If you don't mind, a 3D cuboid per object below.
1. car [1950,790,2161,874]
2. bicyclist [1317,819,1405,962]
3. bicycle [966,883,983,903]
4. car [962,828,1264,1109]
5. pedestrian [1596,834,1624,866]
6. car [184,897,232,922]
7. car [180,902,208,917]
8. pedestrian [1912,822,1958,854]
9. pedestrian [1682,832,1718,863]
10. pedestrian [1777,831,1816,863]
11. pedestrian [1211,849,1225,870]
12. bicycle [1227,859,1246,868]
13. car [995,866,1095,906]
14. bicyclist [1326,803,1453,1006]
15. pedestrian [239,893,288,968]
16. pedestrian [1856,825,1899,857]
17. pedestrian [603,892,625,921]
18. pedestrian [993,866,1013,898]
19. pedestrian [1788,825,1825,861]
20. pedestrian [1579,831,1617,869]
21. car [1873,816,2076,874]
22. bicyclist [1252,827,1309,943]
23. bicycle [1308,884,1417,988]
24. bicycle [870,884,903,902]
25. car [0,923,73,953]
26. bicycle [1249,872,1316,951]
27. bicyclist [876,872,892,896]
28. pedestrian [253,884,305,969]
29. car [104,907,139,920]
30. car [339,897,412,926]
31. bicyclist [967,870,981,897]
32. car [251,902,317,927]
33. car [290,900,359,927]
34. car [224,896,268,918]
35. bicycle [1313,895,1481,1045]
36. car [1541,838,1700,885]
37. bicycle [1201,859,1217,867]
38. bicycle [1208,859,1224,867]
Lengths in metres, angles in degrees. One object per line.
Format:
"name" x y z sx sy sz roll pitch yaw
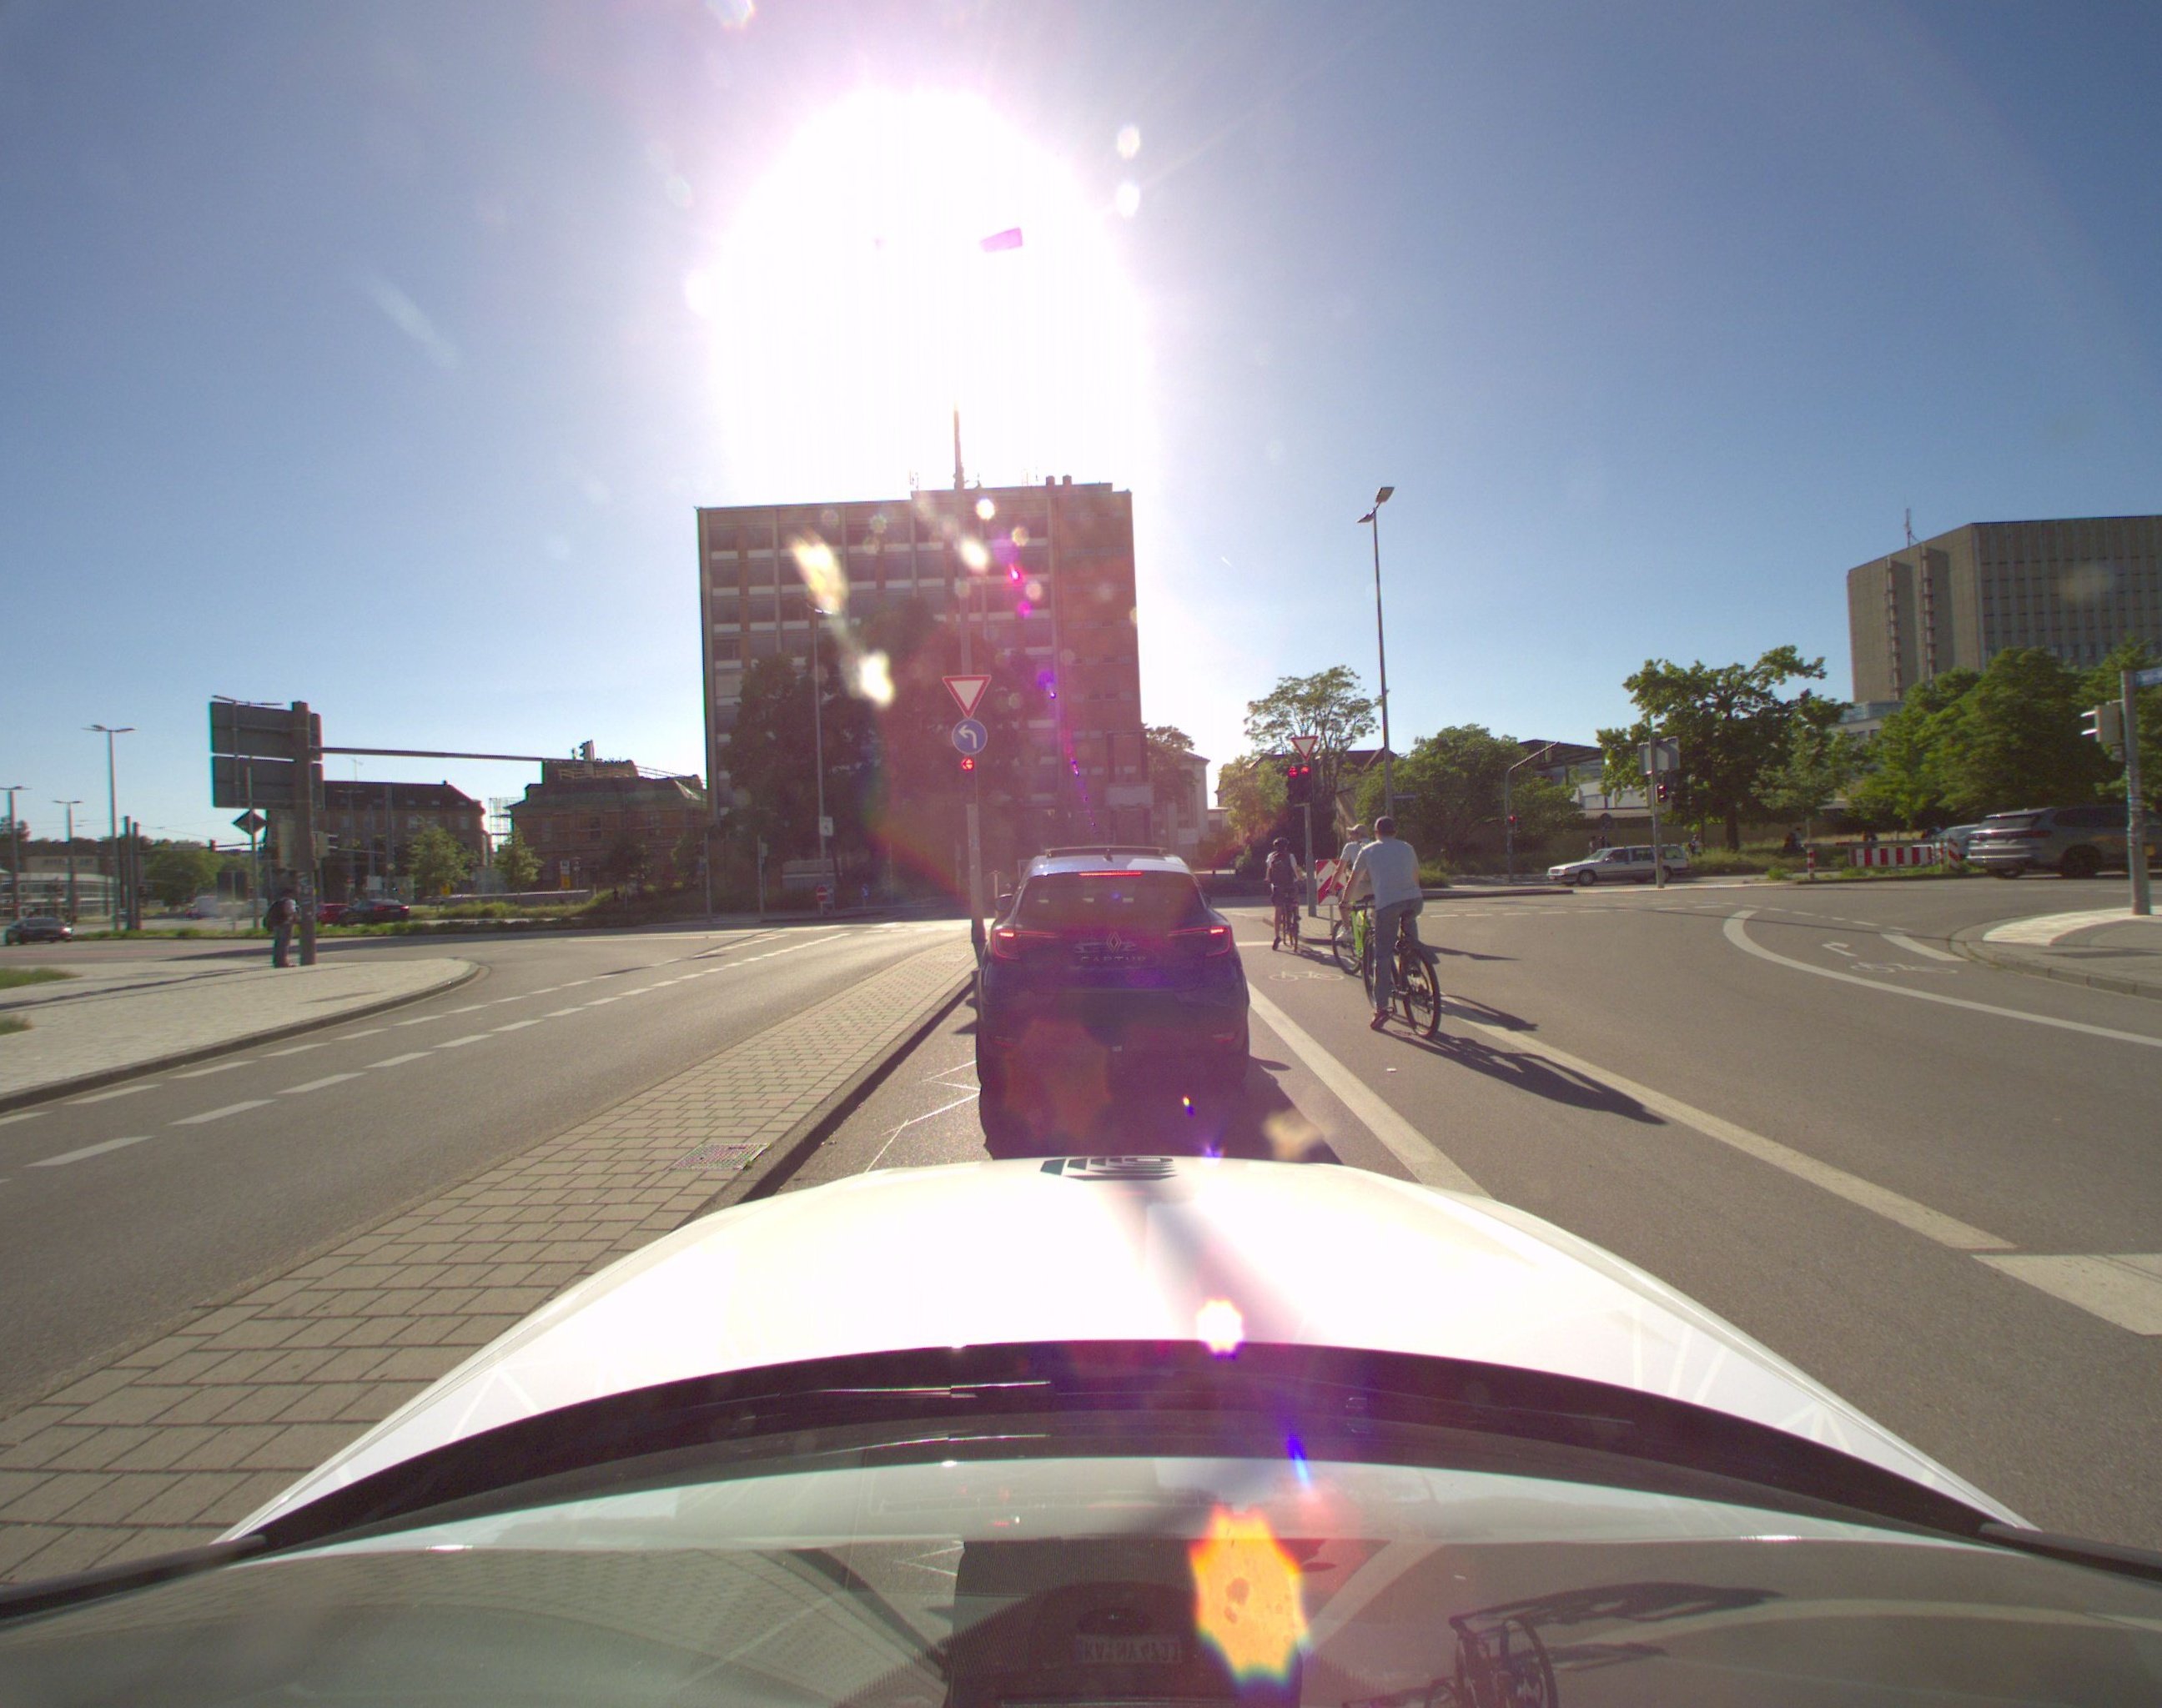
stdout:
"car" 25.163 -0.546 20.202 4.701 1.861 2.009 -2 -1 7
"bicyclist" 3.251 0.404 9.540 0.672 1.583 1.081 0 0 1
"bicycle" -5.799 2.145 44.154 0.699 1.007 1.859 -3 -3 -13
"car" 0.223 0.683 6.799 1.788 1.655 3.853 -1 0 1
"pedestrian" 27.295 -0.194 42.047 0.974 1.604 0.830 -3 -1 15
"car" -99.149 6.276 92.507 6.867 2.547 3.032 -3 -1 38
"car" -109.239 6.851 100.296 4.797 1.581 2.114 -3 0 44
"pedestrian" 41.662 -0.776 39.748 1.123 1.521 0.992 -2 -1 5
"pedestrian" 30.812 -0.321 40.573 1.078 1.521 0.933 -2 -1 11
"pedestrian" 34.847 -0.347 39.697 1.069 1.521 0.880 -2 -1 6
"pedestrian" 13.637 0.564 80.928 1.152 2.013 1.165 -2 -1 2
"bicycle" 15.810 0.950 82.835 1.770 0.823 0.763 -2 -1 -9
"car" -1.548 1.393 35.658 3.958 1.570 1.843 -3 -1 13
"bicyclist" 2.716 0.425 7.259 0.737 1.674 0.865 -2 -1 0
"pedestrian" -19.246 1.794 19.176 0.627 1.697 0.608 -3 -1 25
"pedestrian" 39.564 -0.657 40.461 1.140 1.521 0.944 -2 -1 7
"pedestrian" -33.737 3.808 58.848 0.816 2.013 1.021 -3 -1 27
"pedestrian" -4.652 1.668 48.488 0.926 1.855 0.809 -3 -1 11
"pedestrian" 36.137 -0.563 40.591 0.957 1.732 0.928 -2 -1 9
"pedestrian" 26.269 -0.202 41.388 1.288 1.855 0.969 -3 -1 13
"car" 28.573 -0.263 26.175 4.103 1.606 1.915 -2 0 7
"bicyclist" 3.187 0.490 13.063 0.674 1.785 0.939 -1 -1 0
"bicycle" 3.255 0.910 9.600 0.669 1.050 1.844 0 0 1
"bicycle" -11.481 2.306 48.094 1.848 0.958 0.627 -3 -1 26
"car" -57.834 4.615 44.842 3.950 1.389 2.012 -4 -1 26
"bicycle" 3.190 0.878 13.052 0.613 1.138 1.826 -2 0 0
"bicyclist" -11.656 1.783 48.170 0.630 1.412 0.653 -3 -1 27
"pedestrian" -18.177 1.639 18.463 0.673 1.855 0.608 -3 -1 25
"car" -144.822 8.976 122.966 2.004 1.673 3.965 -2 -1 -26
"car" -42.387 3.449 48.910 3.771 1.518 2.012 -3 -1 27
"bicyclist" -5.798 1.579 44.098 0.648 1.412 0.635 -2 -3 -14
"car" -53.580 4.084 54.759 3.771 1.518 2.012 -3 -1 27
"car" -47.961 3.776 51.644 3.771 1.518 2.012 -3 -1 27
"car" -82.057 5.177 80.031 4.950 2.013 2.086 -3 -1 34
"bicycle" 2.740 0.951 7.318 0.745 1.050 1.903 -3 0 1
"car" 21.170 0.280 32.126 4.835 1.593 1.943 -2 -1 8
"bicycle" 15.557 1.114 99.017 1.764 0.893 0.766 -2 -1 2
"bicycle" 15.702 1.060 94.647 1.764 0.898 0.766 -2 -1 2
